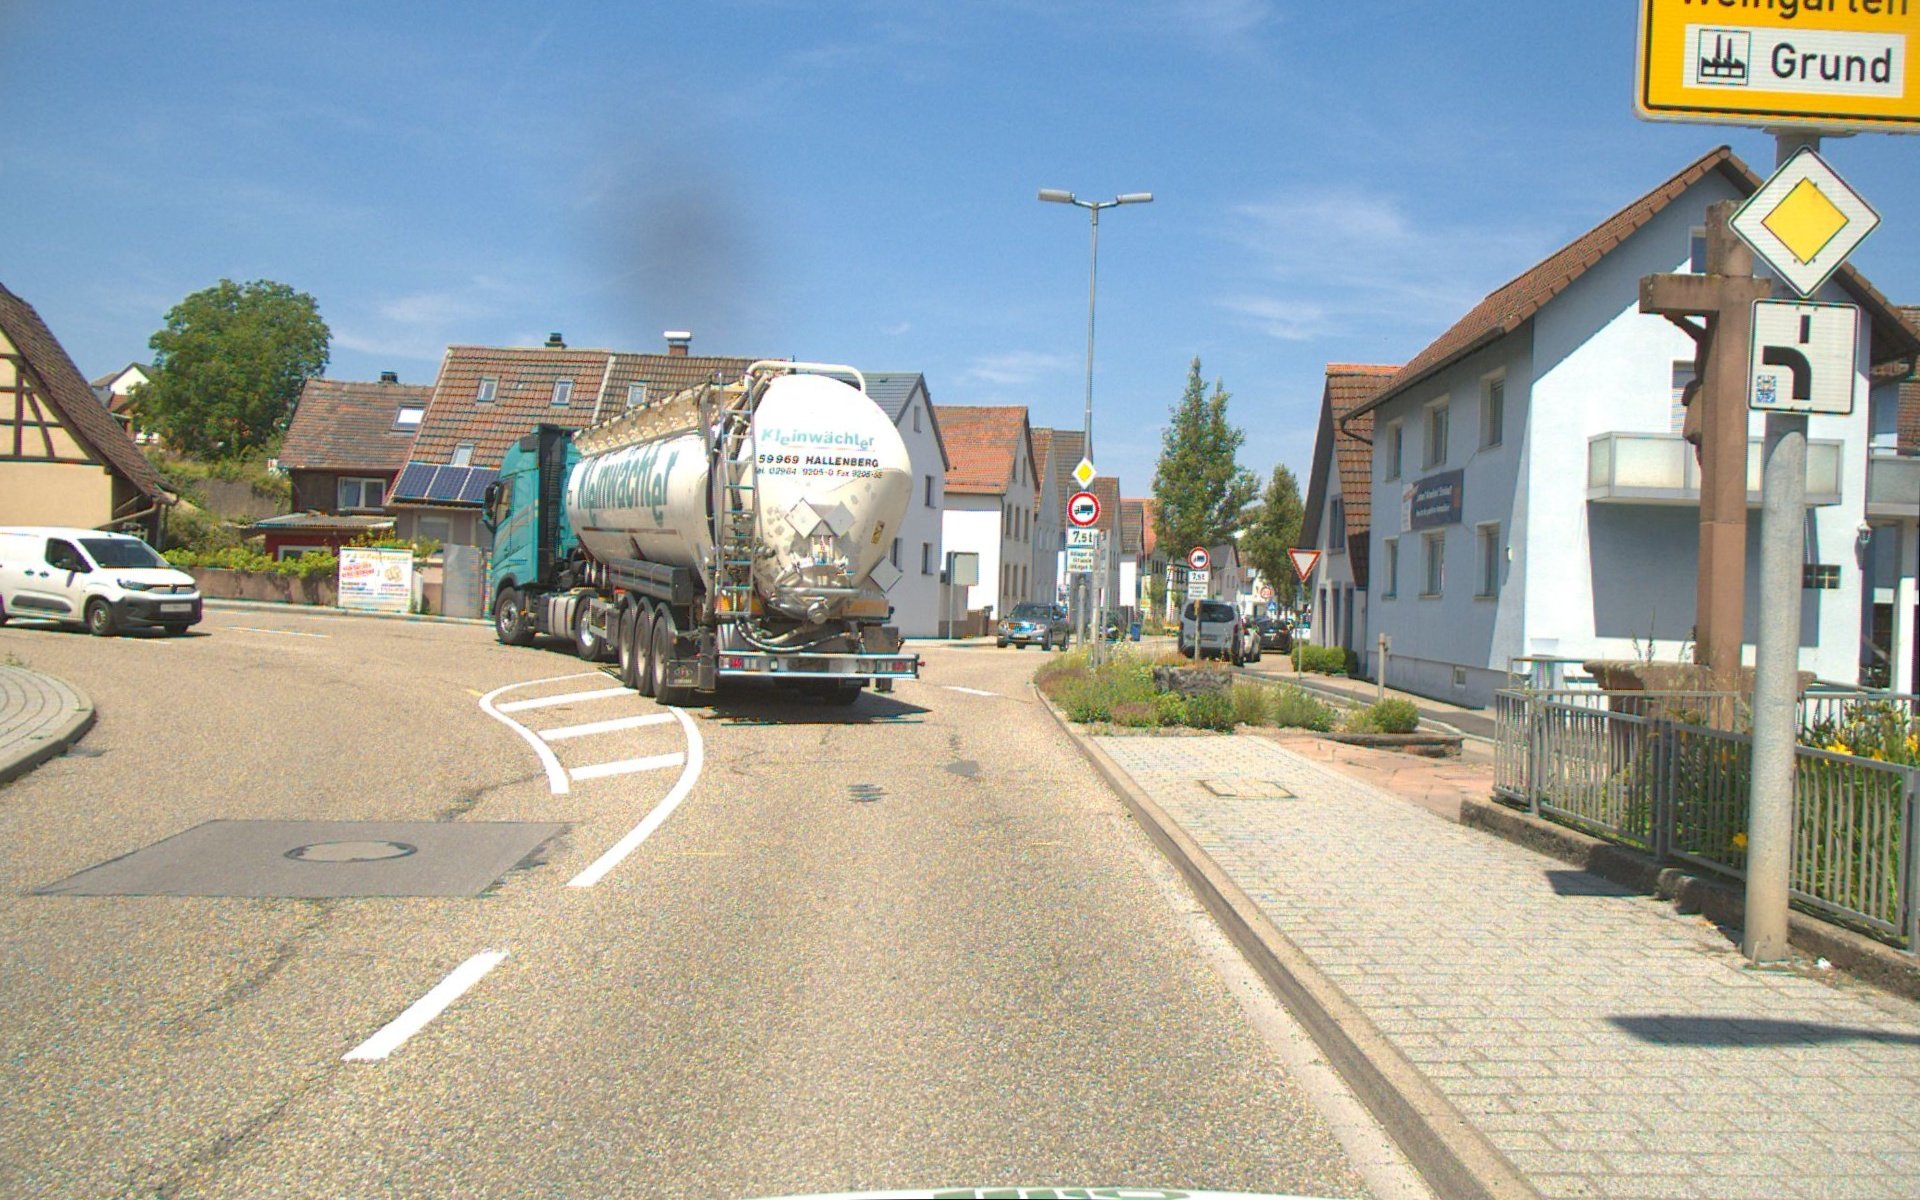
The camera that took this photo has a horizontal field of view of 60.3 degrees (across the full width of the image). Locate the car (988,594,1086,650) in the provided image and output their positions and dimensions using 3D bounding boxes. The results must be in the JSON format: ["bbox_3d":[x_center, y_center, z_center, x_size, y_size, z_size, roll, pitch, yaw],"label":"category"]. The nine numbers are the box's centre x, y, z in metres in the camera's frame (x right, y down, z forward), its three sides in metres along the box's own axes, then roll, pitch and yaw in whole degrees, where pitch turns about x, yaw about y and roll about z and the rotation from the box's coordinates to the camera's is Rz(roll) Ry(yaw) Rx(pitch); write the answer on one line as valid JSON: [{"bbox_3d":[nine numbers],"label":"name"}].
[{"bbox_3d":[2.694,0.781,56.754,1.953,1.704,4.311,3,-1,23],"label":"car"}]

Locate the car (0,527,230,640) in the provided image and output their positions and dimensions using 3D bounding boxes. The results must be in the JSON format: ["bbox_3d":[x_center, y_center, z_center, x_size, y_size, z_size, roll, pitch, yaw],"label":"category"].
[{"bbox_3d":[-15.766,-0.337,30.157,4.415,1.816,1.880,3,1,21],"label":"car"}]

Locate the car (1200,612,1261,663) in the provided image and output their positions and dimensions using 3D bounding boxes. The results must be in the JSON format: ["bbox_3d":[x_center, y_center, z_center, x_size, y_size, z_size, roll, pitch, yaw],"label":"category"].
[{"bbox_3d":[9.607,1.306,58.504,1.778,1.663,4.210,2,0,14],"label":"car"}]

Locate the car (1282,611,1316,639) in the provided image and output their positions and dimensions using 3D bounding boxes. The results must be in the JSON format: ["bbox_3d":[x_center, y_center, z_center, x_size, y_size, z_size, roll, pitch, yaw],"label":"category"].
[{"bbox_3d":[21.023,1.560,102.405,1.951,1.612,4.003,3,0,12],"label":"car"}]

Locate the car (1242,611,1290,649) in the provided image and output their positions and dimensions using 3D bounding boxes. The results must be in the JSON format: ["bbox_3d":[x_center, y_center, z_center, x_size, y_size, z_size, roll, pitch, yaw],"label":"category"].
[{"bbox_3d":[14.119,1.370,76.156,1.951,1.612,4.003,3,0,12],"label":"car"}]

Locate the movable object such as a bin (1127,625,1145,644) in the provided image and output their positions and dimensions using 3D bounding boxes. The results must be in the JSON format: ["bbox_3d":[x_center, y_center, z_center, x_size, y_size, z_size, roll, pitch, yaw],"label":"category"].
[{"bbox_3d":[10.399,2.034,97.767,0.900,1.067,0.944,3,0,15],"label":"movable object such as a bin"}]

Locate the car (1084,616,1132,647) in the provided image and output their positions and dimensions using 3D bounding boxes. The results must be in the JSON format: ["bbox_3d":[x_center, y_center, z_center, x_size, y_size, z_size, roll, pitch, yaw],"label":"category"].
[{"bbox_3d":[8.317,1.782,92.709,1.682,1.624,4.001,3,0,20],"label":"car"}]

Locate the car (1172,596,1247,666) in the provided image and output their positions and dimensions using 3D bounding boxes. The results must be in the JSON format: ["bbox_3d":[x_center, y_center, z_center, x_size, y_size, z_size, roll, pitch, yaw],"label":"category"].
[{"bbox_3d":[7.765,0.995,51.199,1.951,1.945,4.327,3,-2,12],"label":"car"}]

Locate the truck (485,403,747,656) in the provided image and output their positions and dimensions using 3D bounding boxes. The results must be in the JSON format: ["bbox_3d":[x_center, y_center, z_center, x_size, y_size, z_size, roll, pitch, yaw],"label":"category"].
[{"bbox_3d":[-6.322,-1.153,29.799,2.956,4.034,5.522,2,0,-30],"label":"truck"}]

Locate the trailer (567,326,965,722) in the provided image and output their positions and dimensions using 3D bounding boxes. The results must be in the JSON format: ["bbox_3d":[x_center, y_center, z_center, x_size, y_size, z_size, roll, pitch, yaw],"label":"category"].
[{"bbox_3d":[-3.299,-0.840,23.043,2.908,4.016,11.554,3,0,-19],"label":"trailer"}]

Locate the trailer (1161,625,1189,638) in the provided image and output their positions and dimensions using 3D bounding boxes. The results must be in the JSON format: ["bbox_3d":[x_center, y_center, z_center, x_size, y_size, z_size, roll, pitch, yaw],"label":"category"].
[{"bbox_3d":[15.691,2.297,121.030,1.909,0.791,2.722,3,0,6],"label":"trailer"}]
